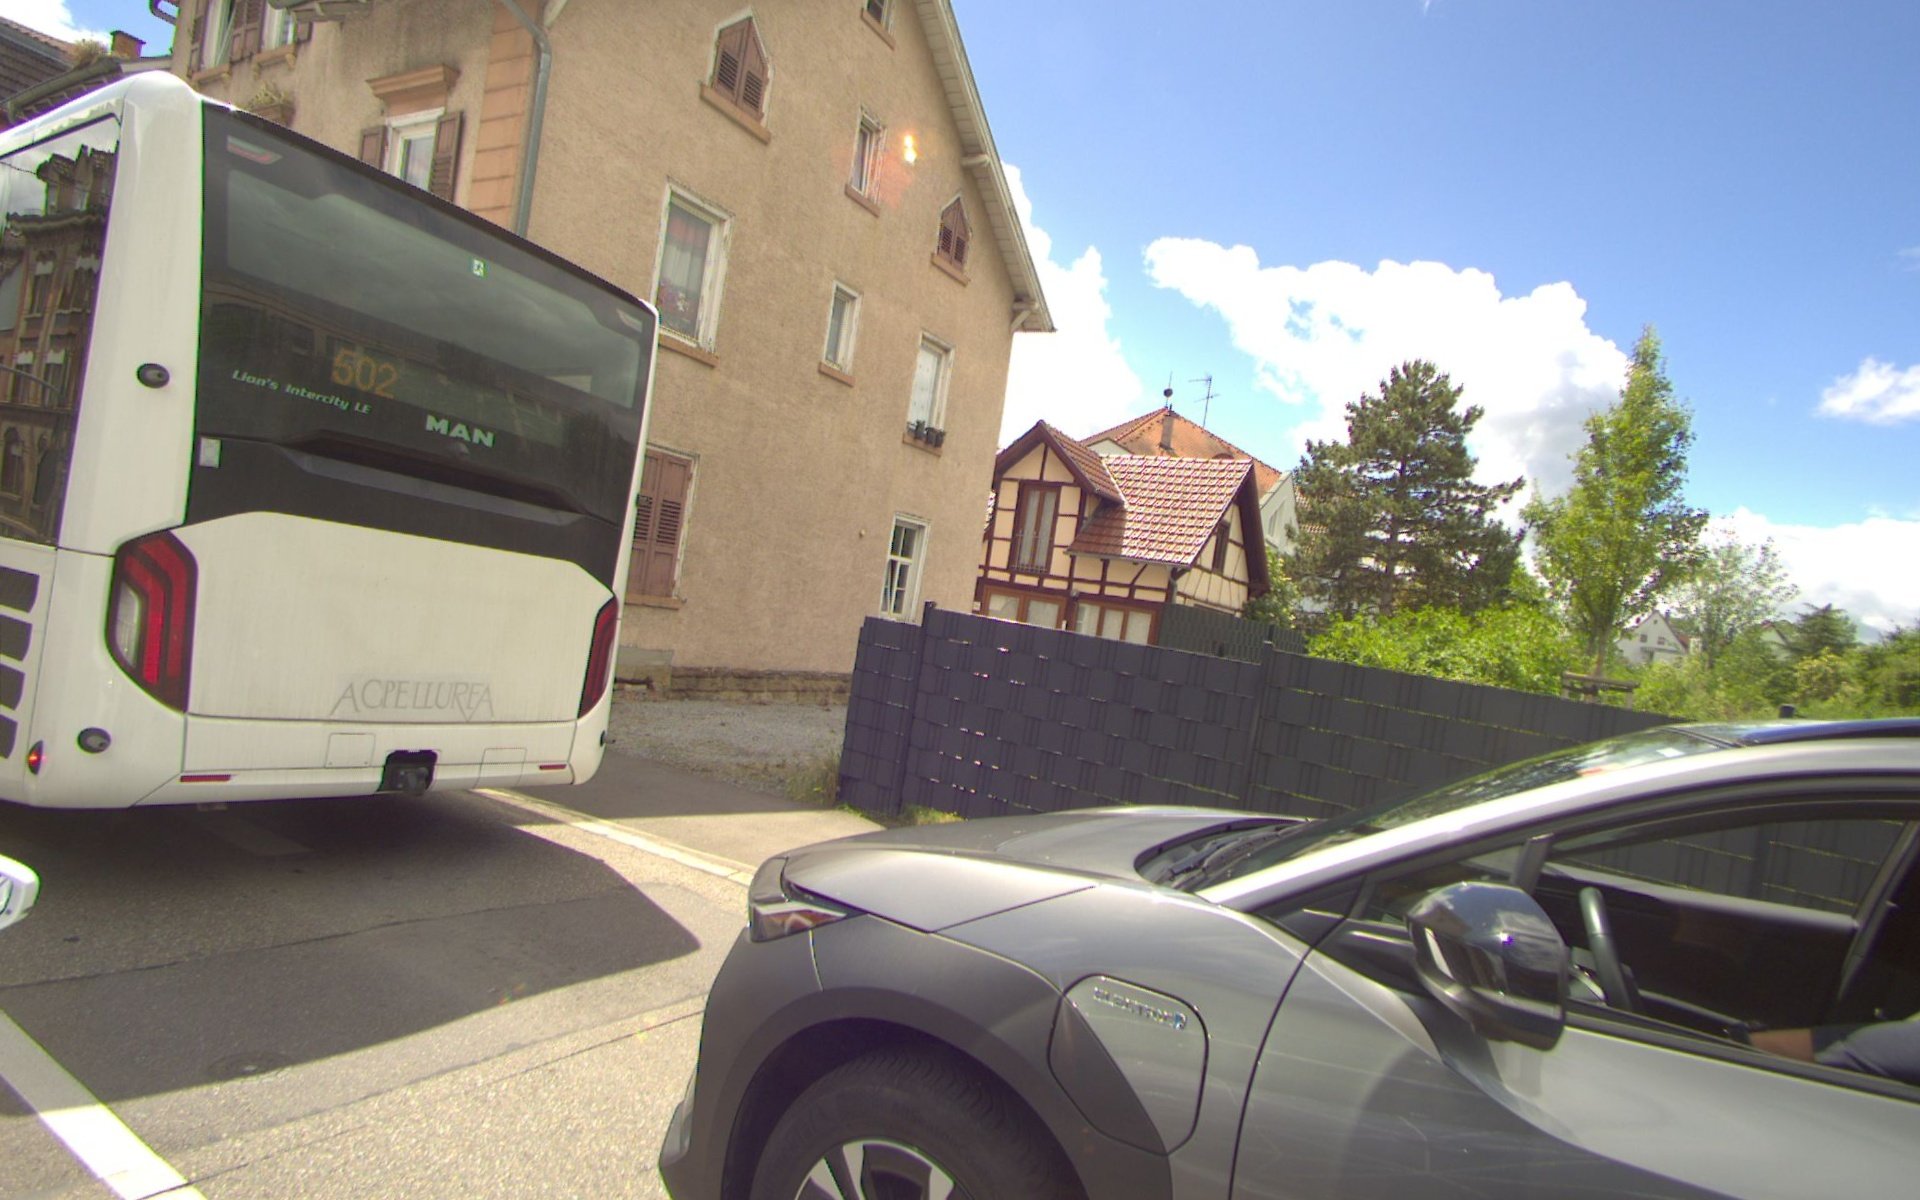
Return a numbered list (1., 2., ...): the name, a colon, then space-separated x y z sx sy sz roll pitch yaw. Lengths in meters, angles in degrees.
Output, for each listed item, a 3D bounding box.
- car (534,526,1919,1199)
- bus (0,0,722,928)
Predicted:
1. car: 1.572 0.968 1.862 4.504 1.648 1.997 7 -1 31
2. bus: -7.525 -1.076 7.808 12.281 3.551 2.910 6 -2 32
